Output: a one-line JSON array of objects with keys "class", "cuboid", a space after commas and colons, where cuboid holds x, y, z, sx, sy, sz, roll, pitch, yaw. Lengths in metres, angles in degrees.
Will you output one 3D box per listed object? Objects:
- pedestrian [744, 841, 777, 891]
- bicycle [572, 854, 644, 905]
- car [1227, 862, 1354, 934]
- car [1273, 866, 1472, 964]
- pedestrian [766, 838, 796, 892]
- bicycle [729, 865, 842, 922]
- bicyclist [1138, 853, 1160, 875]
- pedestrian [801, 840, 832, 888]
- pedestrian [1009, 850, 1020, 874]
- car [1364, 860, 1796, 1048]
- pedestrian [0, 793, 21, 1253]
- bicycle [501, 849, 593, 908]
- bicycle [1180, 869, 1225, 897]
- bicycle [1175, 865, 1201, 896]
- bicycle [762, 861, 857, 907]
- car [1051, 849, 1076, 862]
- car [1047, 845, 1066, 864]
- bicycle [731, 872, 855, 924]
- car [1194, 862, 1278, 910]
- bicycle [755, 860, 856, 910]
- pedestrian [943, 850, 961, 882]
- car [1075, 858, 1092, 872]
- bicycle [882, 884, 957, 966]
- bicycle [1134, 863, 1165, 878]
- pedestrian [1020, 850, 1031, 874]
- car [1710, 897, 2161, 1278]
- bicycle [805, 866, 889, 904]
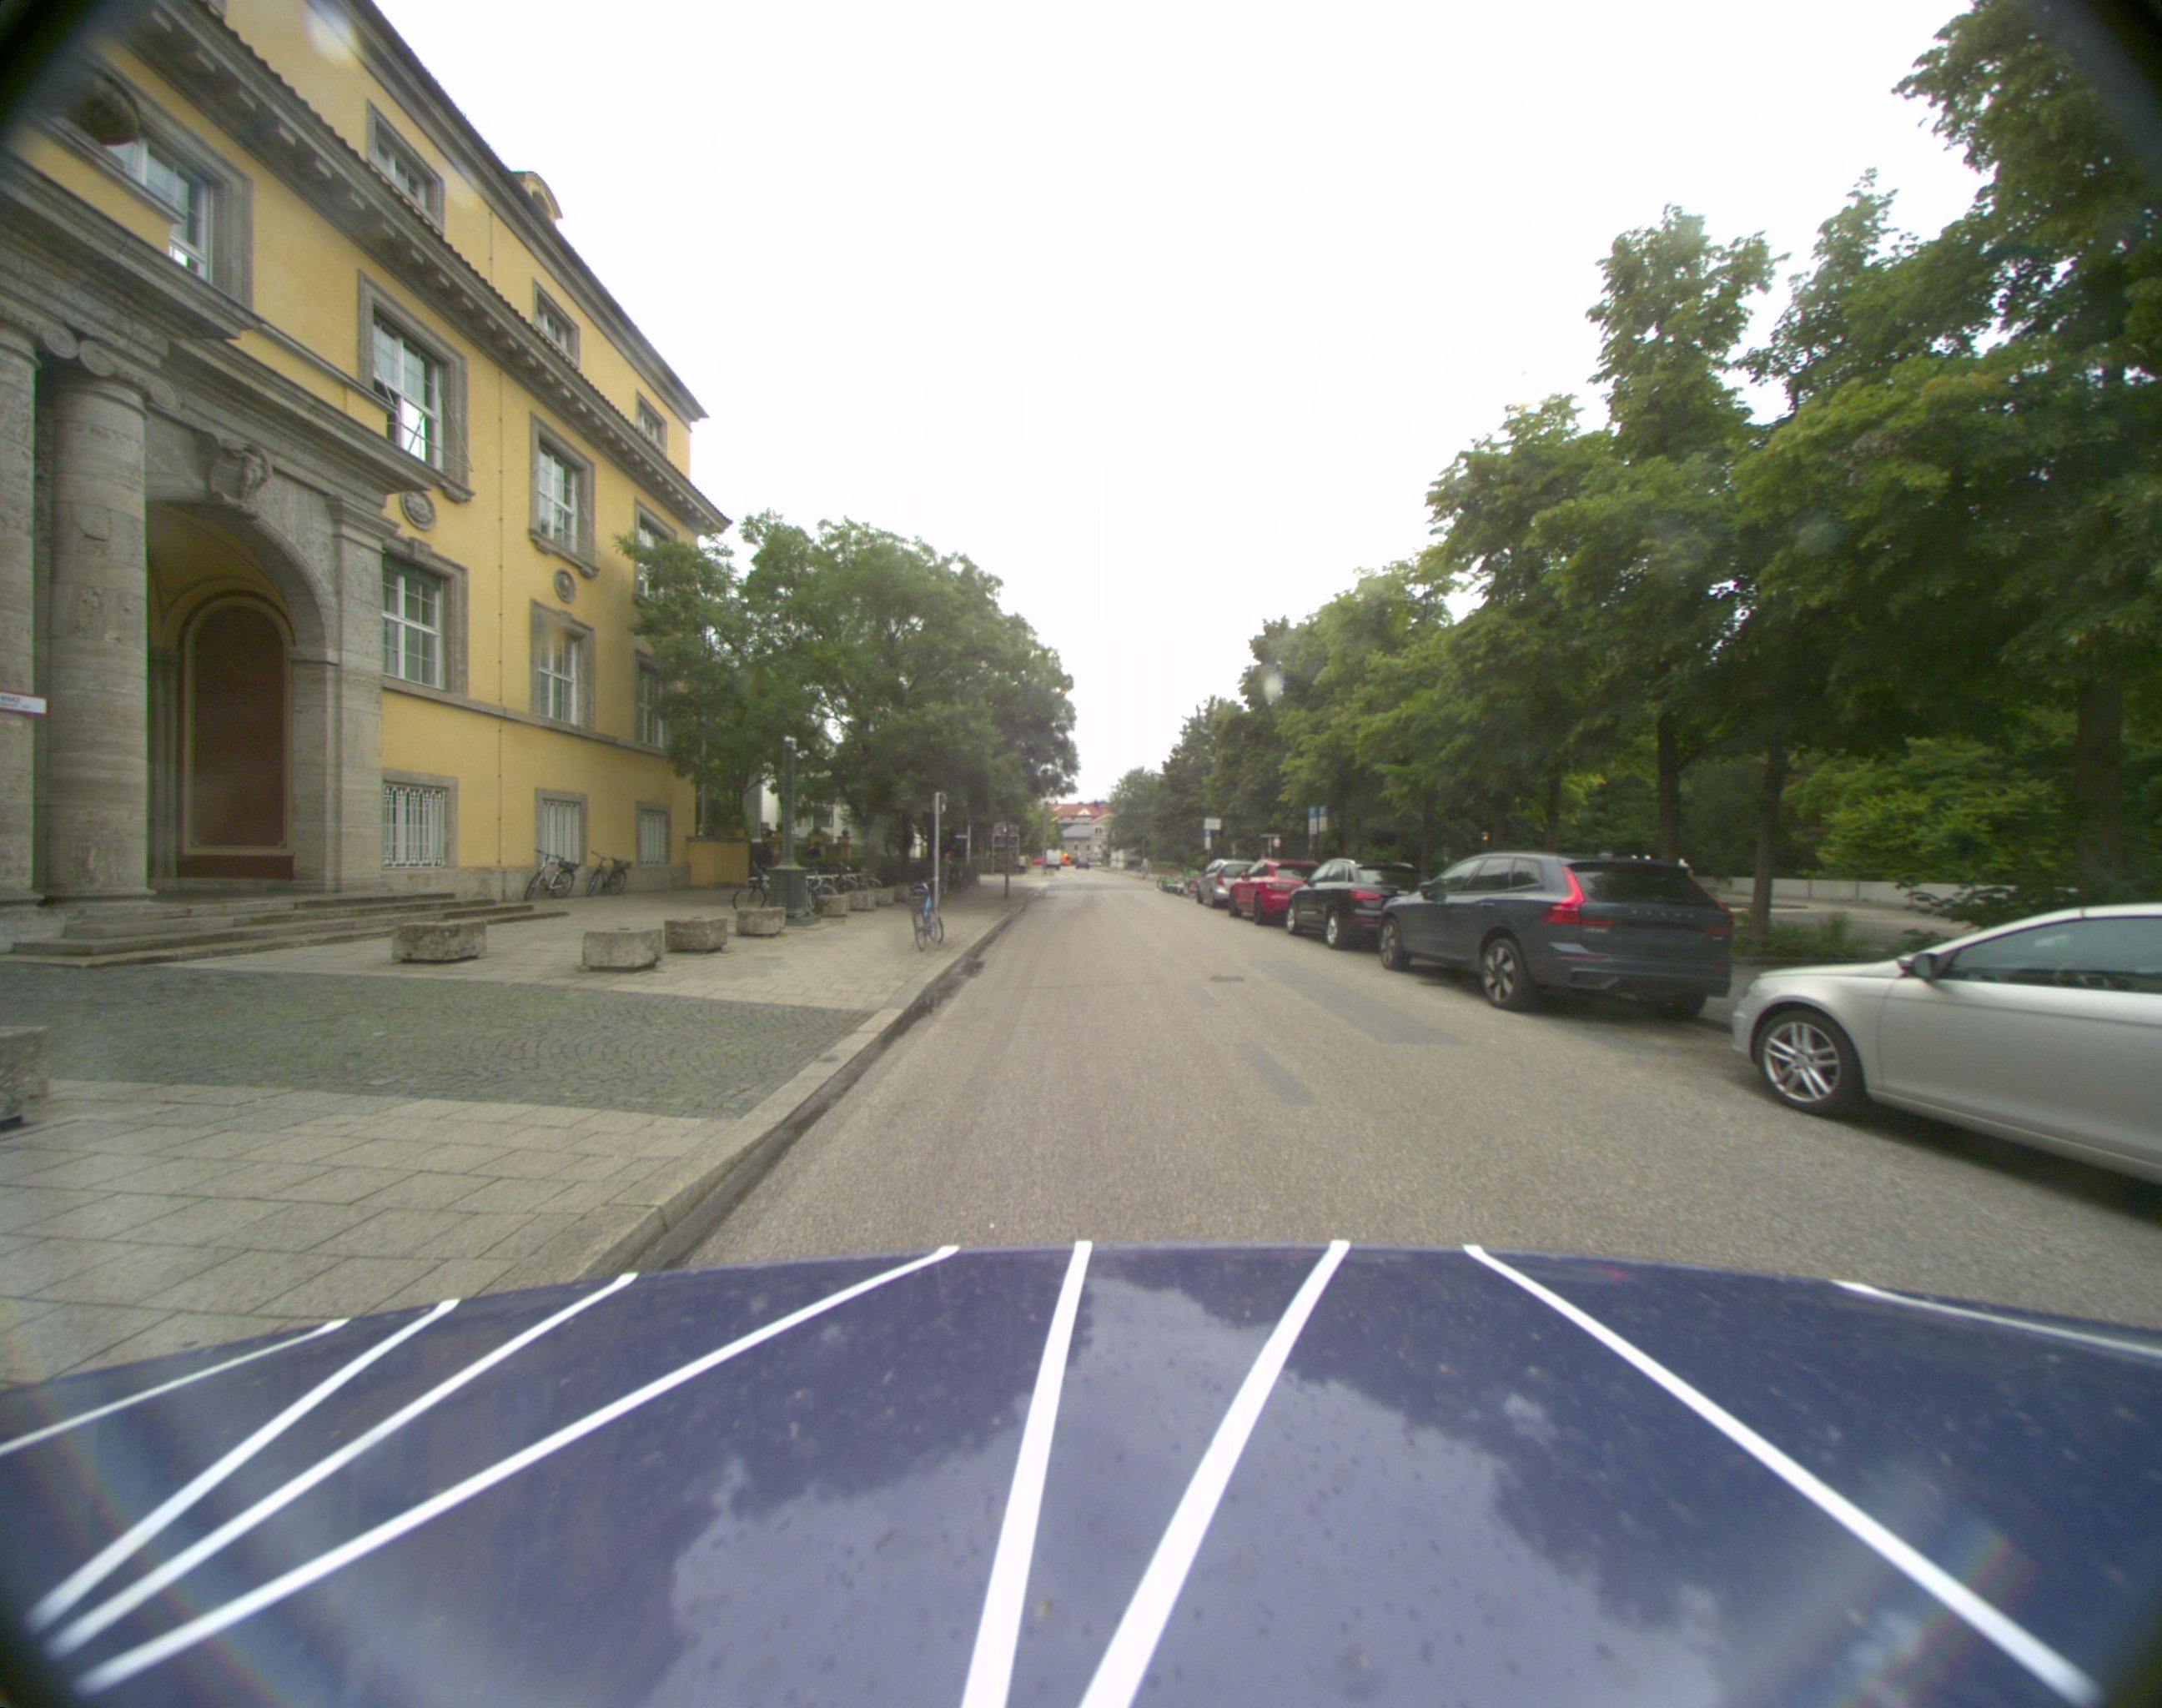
[{"class": "pedestrian", "cuboid": [-11.467, 0.419, 27.199, 0.741, 1.734, 0.841, 3, 1, -1]}, {"class": "bicycle", "cuboid": [-12.683, 0.650, 20.466, 0.601, 1.299, 2.164, 1, 0, -1]}, {"class": "car", "cuboid": [5.073, 1.002, 19.070, 1.998, 1.535, 4.364, 1, 0, 0]}, {"class": "car", "cuboid": [5.207, 1.001, 14.385, 1.998, 1.452, 4.647, 1, 0, 0]}, {"class": "pedestrian", "cuboid": [-10.742, 0.380, 27.212, 0.659, 1.854, 0.820, 3, 1, -1]}, {"class": "bicycle", "cuboid": [-6.784, 0.901, 17.517, 2.265, 1.088, 0.601, 6, 0, -11]}, {"class": "bicyclist", "cuboid": [5.013, 0.757, 55.891, 1.303, 1.536, 0.893, -3, 1, 40]}, {"class": "pedestrian", "cuboid": [-10.616, 0.388, 30.535, 0.782, 1.854, 1.035, 3, 1, -1]}, {"class": "pedestrian", "cuboid": [-5.322, 0.662, 60.946, 0.777, 1.855, 0.996, -3, 1, -9]}, {"class": "car", "cuboid": [5.188, 0.893, 8.872, 1.999, 1.573, 4.521, 1, 0, -1]}, {"class": "pedestrian", "cuboid": [-4.448, 0.632, 2.373, 0.790, 1.736, 1.055, 1, 1, -1]}, {"class": "bicycle", "cuboid": [-12.663, 0.539, 18.108, 0.601, 1.299, 2.264, 1, 0, 0]}, {"class": "bicycle", "cuboid": [4.981, 1.188, 31.139, 1.700, 1.101, 0.598, 0, 1, -9]}, {"class": "bicycle", "cuboid": [4.611, 1.110, 32.662, 0.574, 1.275, 1.421, -1, 0, 32]}, {"class": "bicycle", "cuboid": [-7.249, 0.807, 20.367, 2.265, 1.018, 0.601, 6, 0, -11]}, {"class": "car", "cuboid": [-3.742, 0.375, 163.956, 4.973, 2.521, 2.578, -2, 1, 43]}, {"class": "car", "cuboid": [-3.289, 0.039, 101.094, 2.236, 2.289, 4.728, -2, 1, -6]}, {"class": "bicycle", "cuboid": [-6.212, 0.955, 16.500, 2.370, 1.000, 0.677, 3, 0, -9]}, {"class": "car", "cuboid": [5.164, 1.019, 25.883, 1.998, 1.452, 4.364, 1, 0, 0]}, {"class": "bicycle", "cuboid": [-7.018, 0.803, 19.458, 2.265, 1.053, 0.601, 6, 0, -11]}, {"class": "pedestrian", "cuboid": [-7.109, 0.646, 41.876, 0.798, 1.721, 0.660, -2, 1, -2]}, {"class": "car", "cuboid": [0.319, 1.510, 105.748, 2.222, 1.840, 4.730, -2, 1, -1]}, {"class": "bicycle", "cuboid": [-2.612, 1.114, 12.579, 0.762, 1.094, 2.263, 3, 0, -1]}, {"class": "bicycle", "cuboid": [5.019, 1.219, 55.923, 2.162, 0.984, 0.789, -3, 1, 40]}, {"class": "pedestrian", "cuboid": [-4.421, 0.631, 60.466, 0.777, 1.855, 0.997, -2, 1, -7]}, {"class": "car", "cuboid": [5.212, 1.041, 3.064, 1.762, 1.392, 4.217, 3, 0, 0]}, {"class": "bicycle", "cuboid": [-6.937, 0.923, 22.526, 2.262, 1.005, 0.602, 3, 0, 2]}]
